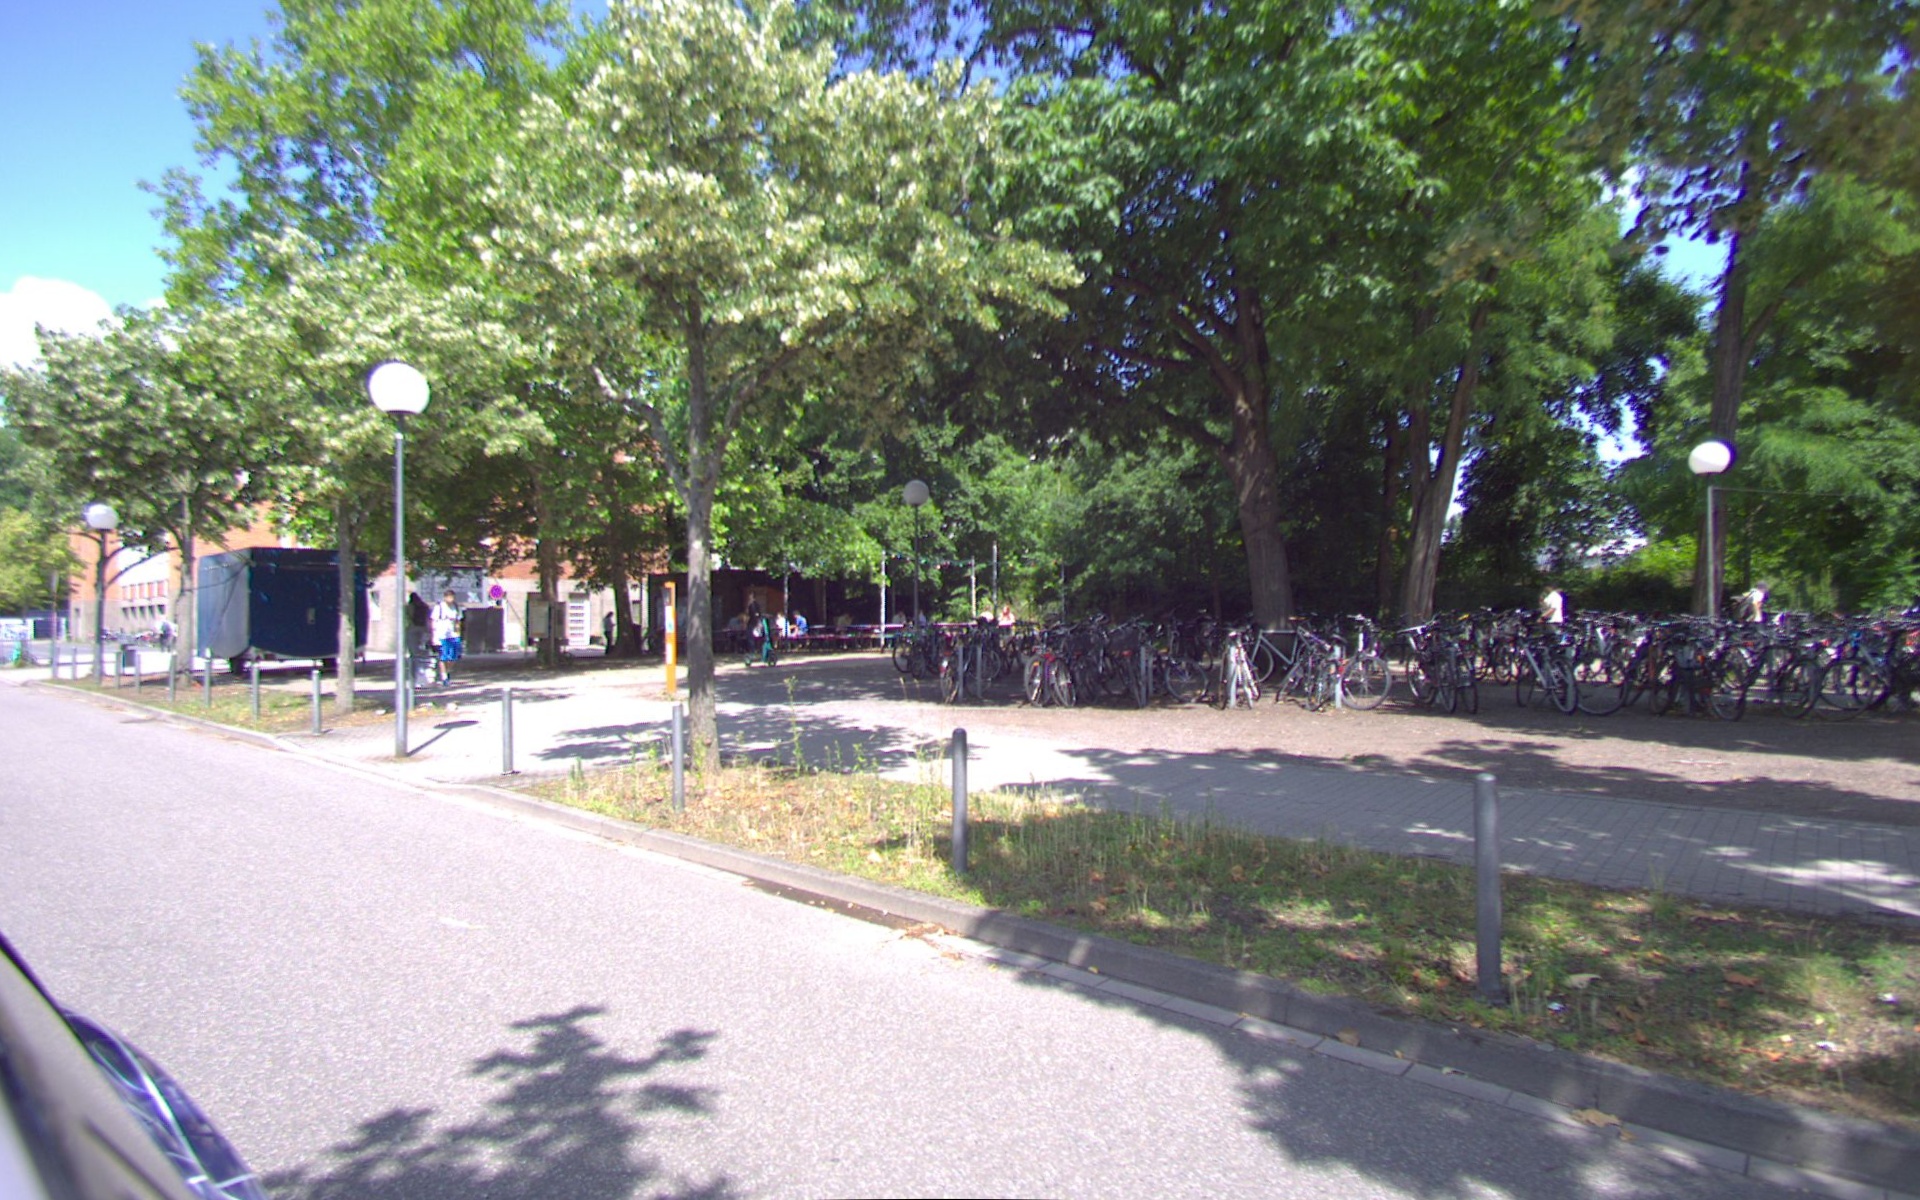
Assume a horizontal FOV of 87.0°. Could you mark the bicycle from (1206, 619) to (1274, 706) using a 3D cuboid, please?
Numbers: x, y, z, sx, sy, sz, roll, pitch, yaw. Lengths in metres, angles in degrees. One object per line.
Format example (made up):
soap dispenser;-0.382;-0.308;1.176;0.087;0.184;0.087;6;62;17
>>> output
bicycle;3.627;0.779;13.236;0.671;1.016;2.146;-1;-1;11

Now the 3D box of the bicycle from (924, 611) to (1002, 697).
bicycle;0.072;0.740;14.592;0.456;1.140;1.765;-1;-1;23

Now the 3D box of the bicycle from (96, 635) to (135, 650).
bicycle;-56.691;2.829;67.941;0.568;0.948;1.931;-2;-2;40

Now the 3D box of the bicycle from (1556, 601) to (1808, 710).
bicycle;8.221;0.584;11.767;0.870;1.094;2.752;-1;-1;-1

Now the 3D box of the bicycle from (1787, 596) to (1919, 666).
bicycle;15.590;0.529;17.731;0.632;1.141;2.057;-2;-1;6

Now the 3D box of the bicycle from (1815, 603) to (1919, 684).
bicycle;14.062;0.633;15.301;0.632;1.141;2.057;-2;-1;6

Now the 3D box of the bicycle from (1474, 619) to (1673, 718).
bicycle;7.205;0.751;12.100;0.668;1.016;2.652;-1;-1;-1

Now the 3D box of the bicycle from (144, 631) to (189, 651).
bicycle;-46.920;2.423;59.844;0.621;1.090;1.989;-2;-2;40

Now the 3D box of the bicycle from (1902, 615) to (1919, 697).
bicycle;12.390;0.674;11.428;0.870;1.010;2.734;-1;-1;-1

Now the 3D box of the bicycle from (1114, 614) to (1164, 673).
bicycle;3.589;0.837;20.185;0.534;1.097;1.952;-2;-1;23

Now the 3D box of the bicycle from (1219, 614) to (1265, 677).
bicycle;5.390;0.842;19.300;0.544;1.097;1.951;-2;-1;24

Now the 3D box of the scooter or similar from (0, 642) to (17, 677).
scooter or similar;-35.498;2.176;36.910;1.548;1.234;0.526;0;-1;-22

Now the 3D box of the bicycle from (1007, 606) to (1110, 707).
bicycle;1.386;0.725;13.858;0.804;1.244;2.044;-1;0;23

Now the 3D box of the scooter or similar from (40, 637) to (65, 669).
scooter or similar;-33.543;1.952;37.409;0.556;1.158;1.352;0;-1;-37

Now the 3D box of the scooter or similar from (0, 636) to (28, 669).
scooter or similar;-36.429;2.004;38.318;1.548;1.234;0.572;0;-1;-22

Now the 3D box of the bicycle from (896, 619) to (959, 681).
bicycle;-0.604;0.938;19.413;0.543;1.097;1.849;-2;-1;20

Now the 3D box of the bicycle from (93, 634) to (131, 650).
bicycle;-57.791;2.865;68.996;0.530;1.038;1.931;-2;-2;40

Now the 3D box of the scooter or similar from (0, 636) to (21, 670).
scooter or similar;-35.966;1.984;37.546;1.548;1.234;0.567;0;-1;-22

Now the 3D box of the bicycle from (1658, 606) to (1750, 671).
bicycle;13.267;0.661;18.111;0.541;1.097;1.960;-1;-1;12

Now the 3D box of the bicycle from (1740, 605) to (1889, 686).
bicycle;12.957;0.662;15.439;0.632;1.141;2.057;-2;-1;6

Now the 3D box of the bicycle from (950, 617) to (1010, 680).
bicycle;0.403;0.879;18.908;0.543;1.097;1.849;-2;-1;20

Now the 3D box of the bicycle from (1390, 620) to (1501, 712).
bicycle;5.954;0.775;12.551;0.670;1.016;2.147;-1;-1;10

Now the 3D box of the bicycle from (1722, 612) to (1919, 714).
bicycle;10.236;0.662;11.555;0.870;1.022;2.784;-1;-1;-1

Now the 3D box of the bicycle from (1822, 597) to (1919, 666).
bicycle;16.386;0.534;17.907;0.632;1.141;2.057;-2;-1;6

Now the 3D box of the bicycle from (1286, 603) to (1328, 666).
bicycle;6.493;0.623;18.909;0.544;1.097;1.951;-2;-1;24

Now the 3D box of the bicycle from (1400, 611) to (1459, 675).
bicycle;8.673;0.763;18.760;0.541;1.097;1.960;-1;-1;12

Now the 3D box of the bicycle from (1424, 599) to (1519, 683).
bicycle;8.148;0.613;16.221;0.632;1.244;2.057;-2;0;6

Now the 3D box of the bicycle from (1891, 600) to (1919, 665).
bicycle;17.379;0.577;17.577;0.632;1.141;2.057;-2;-1;6

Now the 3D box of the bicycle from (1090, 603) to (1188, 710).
bicycle;2.397;0.692;13.370;0.804;1.244;2.044;-1;1;23

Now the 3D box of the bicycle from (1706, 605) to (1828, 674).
bicycle;14.195;0.663;17.875;0.632;1.141;2.057;-2;-1;6

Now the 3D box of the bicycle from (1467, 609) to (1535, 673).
bicycle;9.875;0.717;18.543;0.541;1.097;1.960;-1;-1;12

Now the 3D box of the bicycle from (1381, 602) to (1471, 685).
bicycle;7.485;0.665;16.349;0.632;1.244;2.057;-2;-1;6

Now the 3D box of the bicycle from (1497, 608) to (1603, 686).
bicycle;9.398;0.716;16.216;0.632;1.141;2.057;-2;-1;6

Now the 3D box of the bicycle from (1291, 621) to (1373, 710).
bicycle;4.700;0.794;12.902;0.671;1.016;1.885;-1;-1;11

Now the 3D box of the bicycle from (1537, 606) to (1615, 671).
bicycle;11.062;0.670;18.242;0.541;1.097;1.960;-1;-1;12

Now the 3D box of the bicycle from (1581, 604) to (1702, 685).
bicycle;10.594;0.660;15.833;0.632;1.167;2.057;-2;-1;6

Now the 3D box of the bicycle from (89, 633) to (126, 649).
bicycle;-59.631;2.870;70.784;0.518;1.038;1.931;-2;-2;40

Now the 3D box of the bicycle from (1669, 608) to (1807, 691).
bicycle;11.767;0.714;15.400;0.632;1.141;2.057;-2;0;6

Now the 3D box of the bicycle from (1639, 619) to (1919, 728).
bicycle;9.252;0.769;11.655;0.870;1.058;2.834;-1;-1;-1

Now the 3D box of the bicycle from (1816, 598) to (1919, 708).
bicycle;11.241;0.587;11.262;0.870;1.229;2.909;-1;-1;-1

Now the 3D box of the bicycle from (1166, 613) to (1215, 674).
bicycle;4.530;0.825;19.776;0.544;1.097;1.951;-2;-1;24

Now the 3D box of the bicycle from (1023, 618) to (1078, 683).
bicycle;1.678;0.890;18.512;0.543;1.097;1.849;-2;-1;20

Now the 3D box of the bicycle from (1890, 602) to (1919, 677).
bicycle;15.097;0.606;15.111;0.632;1.141;2.057;-2;0;6

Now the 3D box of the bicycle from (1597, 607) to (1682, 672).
bicycle;12.185;0.685;18.217;0.541;1.097;1.960;-1;-1;12

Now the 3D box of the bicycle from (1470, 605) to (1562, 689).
bicycle;8.694;0.701;15.921;0.473;1.141;2.057;-2;2;6

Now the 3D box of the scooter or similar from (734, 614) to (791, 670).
scooter or similar;-4.621;0.965;23.655;1.241;1.255;0.691;-2;-1;41

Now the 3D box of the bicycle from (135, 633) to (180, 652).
bicycle;-48.343;2.541;60.974;0.663;1.069;2.001;-2;-2;40

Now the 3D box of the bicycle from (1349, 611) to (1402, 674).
bicycle;7.762;0.769;18.986;0.541;1.097;1.960;-1;-1;12
